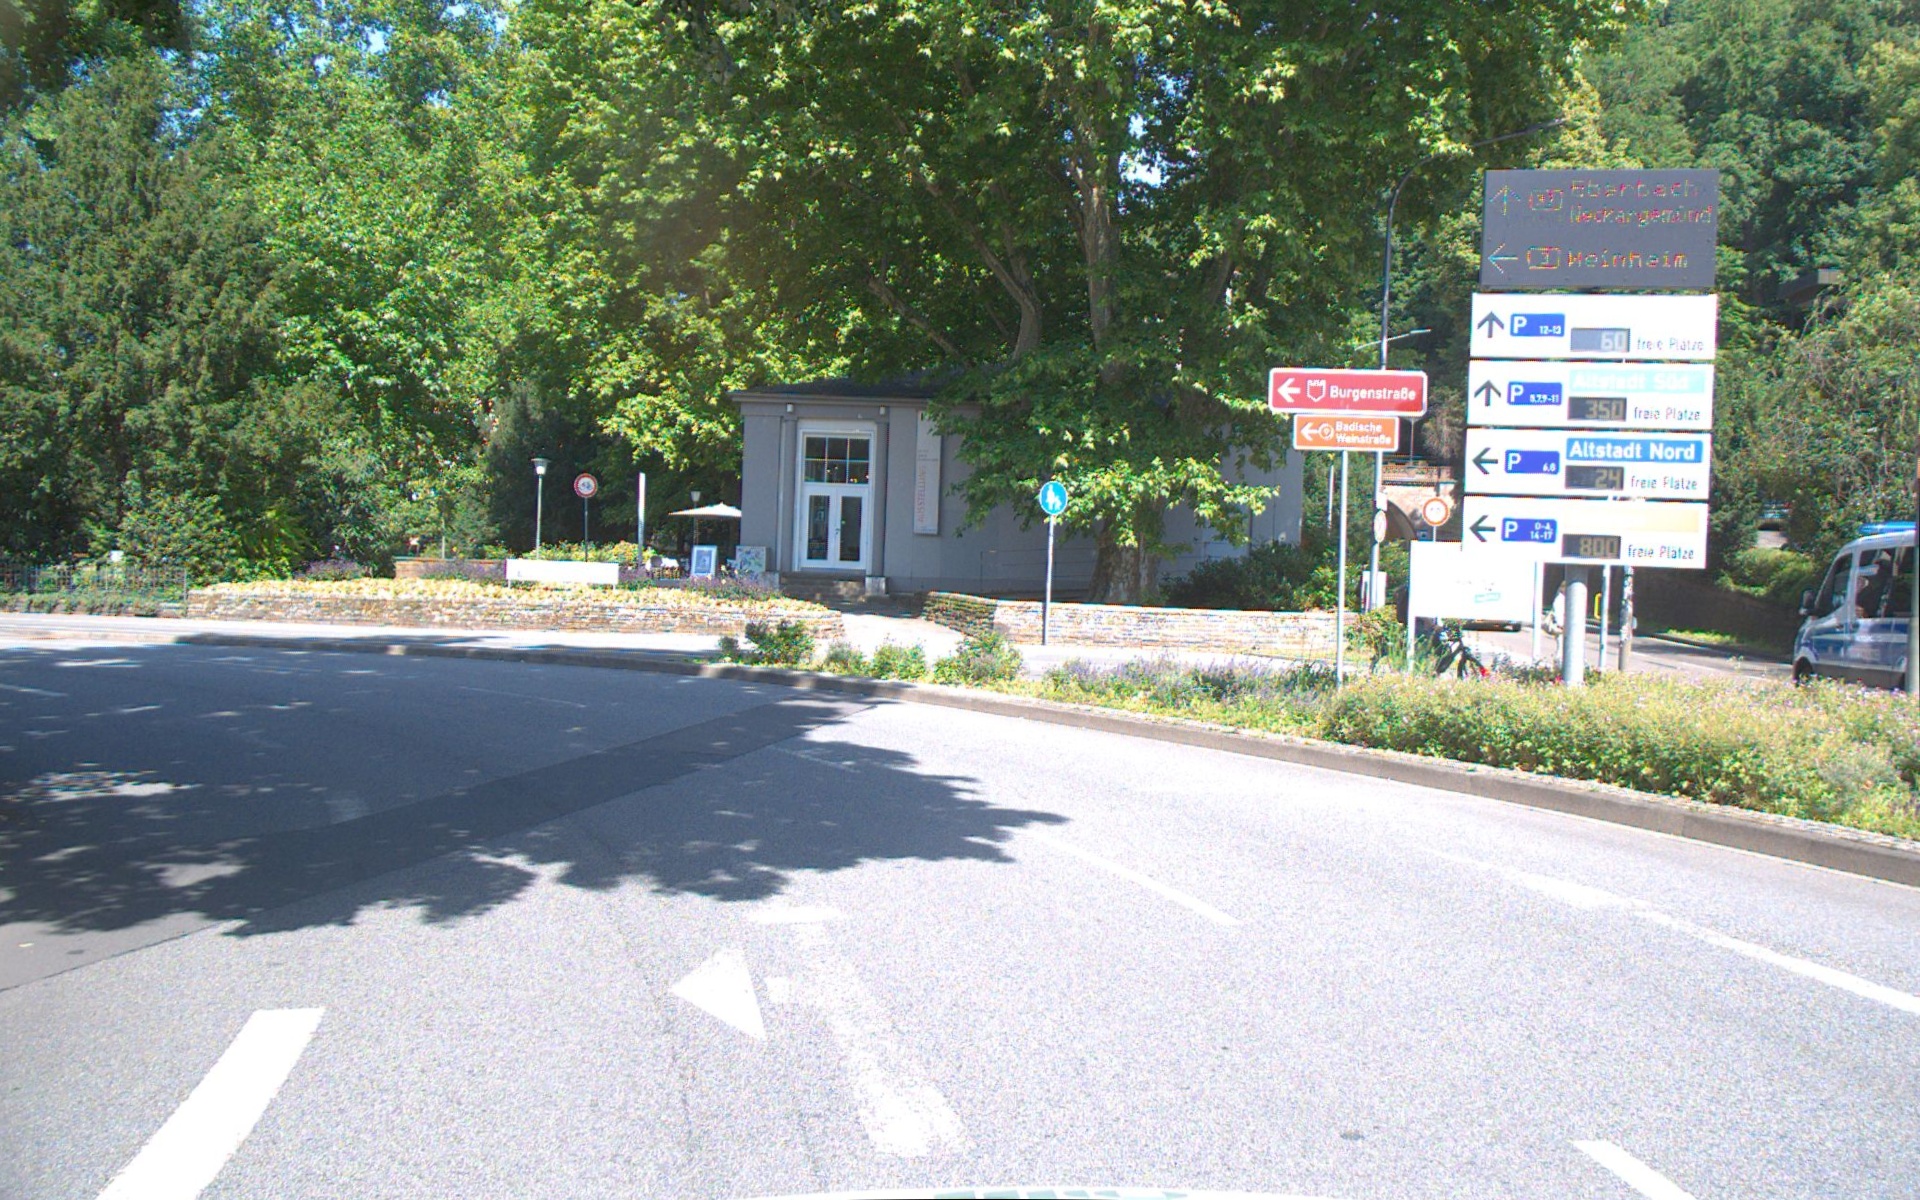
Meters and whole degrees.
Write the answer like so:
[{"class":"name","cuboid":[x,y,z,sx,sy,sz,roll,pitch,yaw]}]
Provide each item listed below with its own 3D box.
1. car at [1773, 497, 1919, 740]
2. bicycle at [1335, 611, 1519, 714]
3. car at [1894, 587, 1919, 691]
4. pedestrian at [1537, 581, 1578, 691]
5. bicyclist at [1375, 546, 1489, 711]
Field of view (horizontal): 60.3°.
[{"class":"car","cuboid":[11.354,0.225,19.056,2.029,2.552,4.933,2,1,8]},{"class":"bicycle","cuboid":[5.782,0.748,20.552,2.043,1.132,0.753,3,1,38]},{"class":"car","cuboid":[15.235,0.674,23.642,1.683,1.567,4.275,3,2,7]},{"class":"pedestrian","cuboid":[9.211,0.540,25.503,0.535,1.649,0.634,2,1,22]},{"class":"bicyclist","cuboid":[5.850,0.332,20.500,1.108,1.966,0.745,2,0,38]}]
